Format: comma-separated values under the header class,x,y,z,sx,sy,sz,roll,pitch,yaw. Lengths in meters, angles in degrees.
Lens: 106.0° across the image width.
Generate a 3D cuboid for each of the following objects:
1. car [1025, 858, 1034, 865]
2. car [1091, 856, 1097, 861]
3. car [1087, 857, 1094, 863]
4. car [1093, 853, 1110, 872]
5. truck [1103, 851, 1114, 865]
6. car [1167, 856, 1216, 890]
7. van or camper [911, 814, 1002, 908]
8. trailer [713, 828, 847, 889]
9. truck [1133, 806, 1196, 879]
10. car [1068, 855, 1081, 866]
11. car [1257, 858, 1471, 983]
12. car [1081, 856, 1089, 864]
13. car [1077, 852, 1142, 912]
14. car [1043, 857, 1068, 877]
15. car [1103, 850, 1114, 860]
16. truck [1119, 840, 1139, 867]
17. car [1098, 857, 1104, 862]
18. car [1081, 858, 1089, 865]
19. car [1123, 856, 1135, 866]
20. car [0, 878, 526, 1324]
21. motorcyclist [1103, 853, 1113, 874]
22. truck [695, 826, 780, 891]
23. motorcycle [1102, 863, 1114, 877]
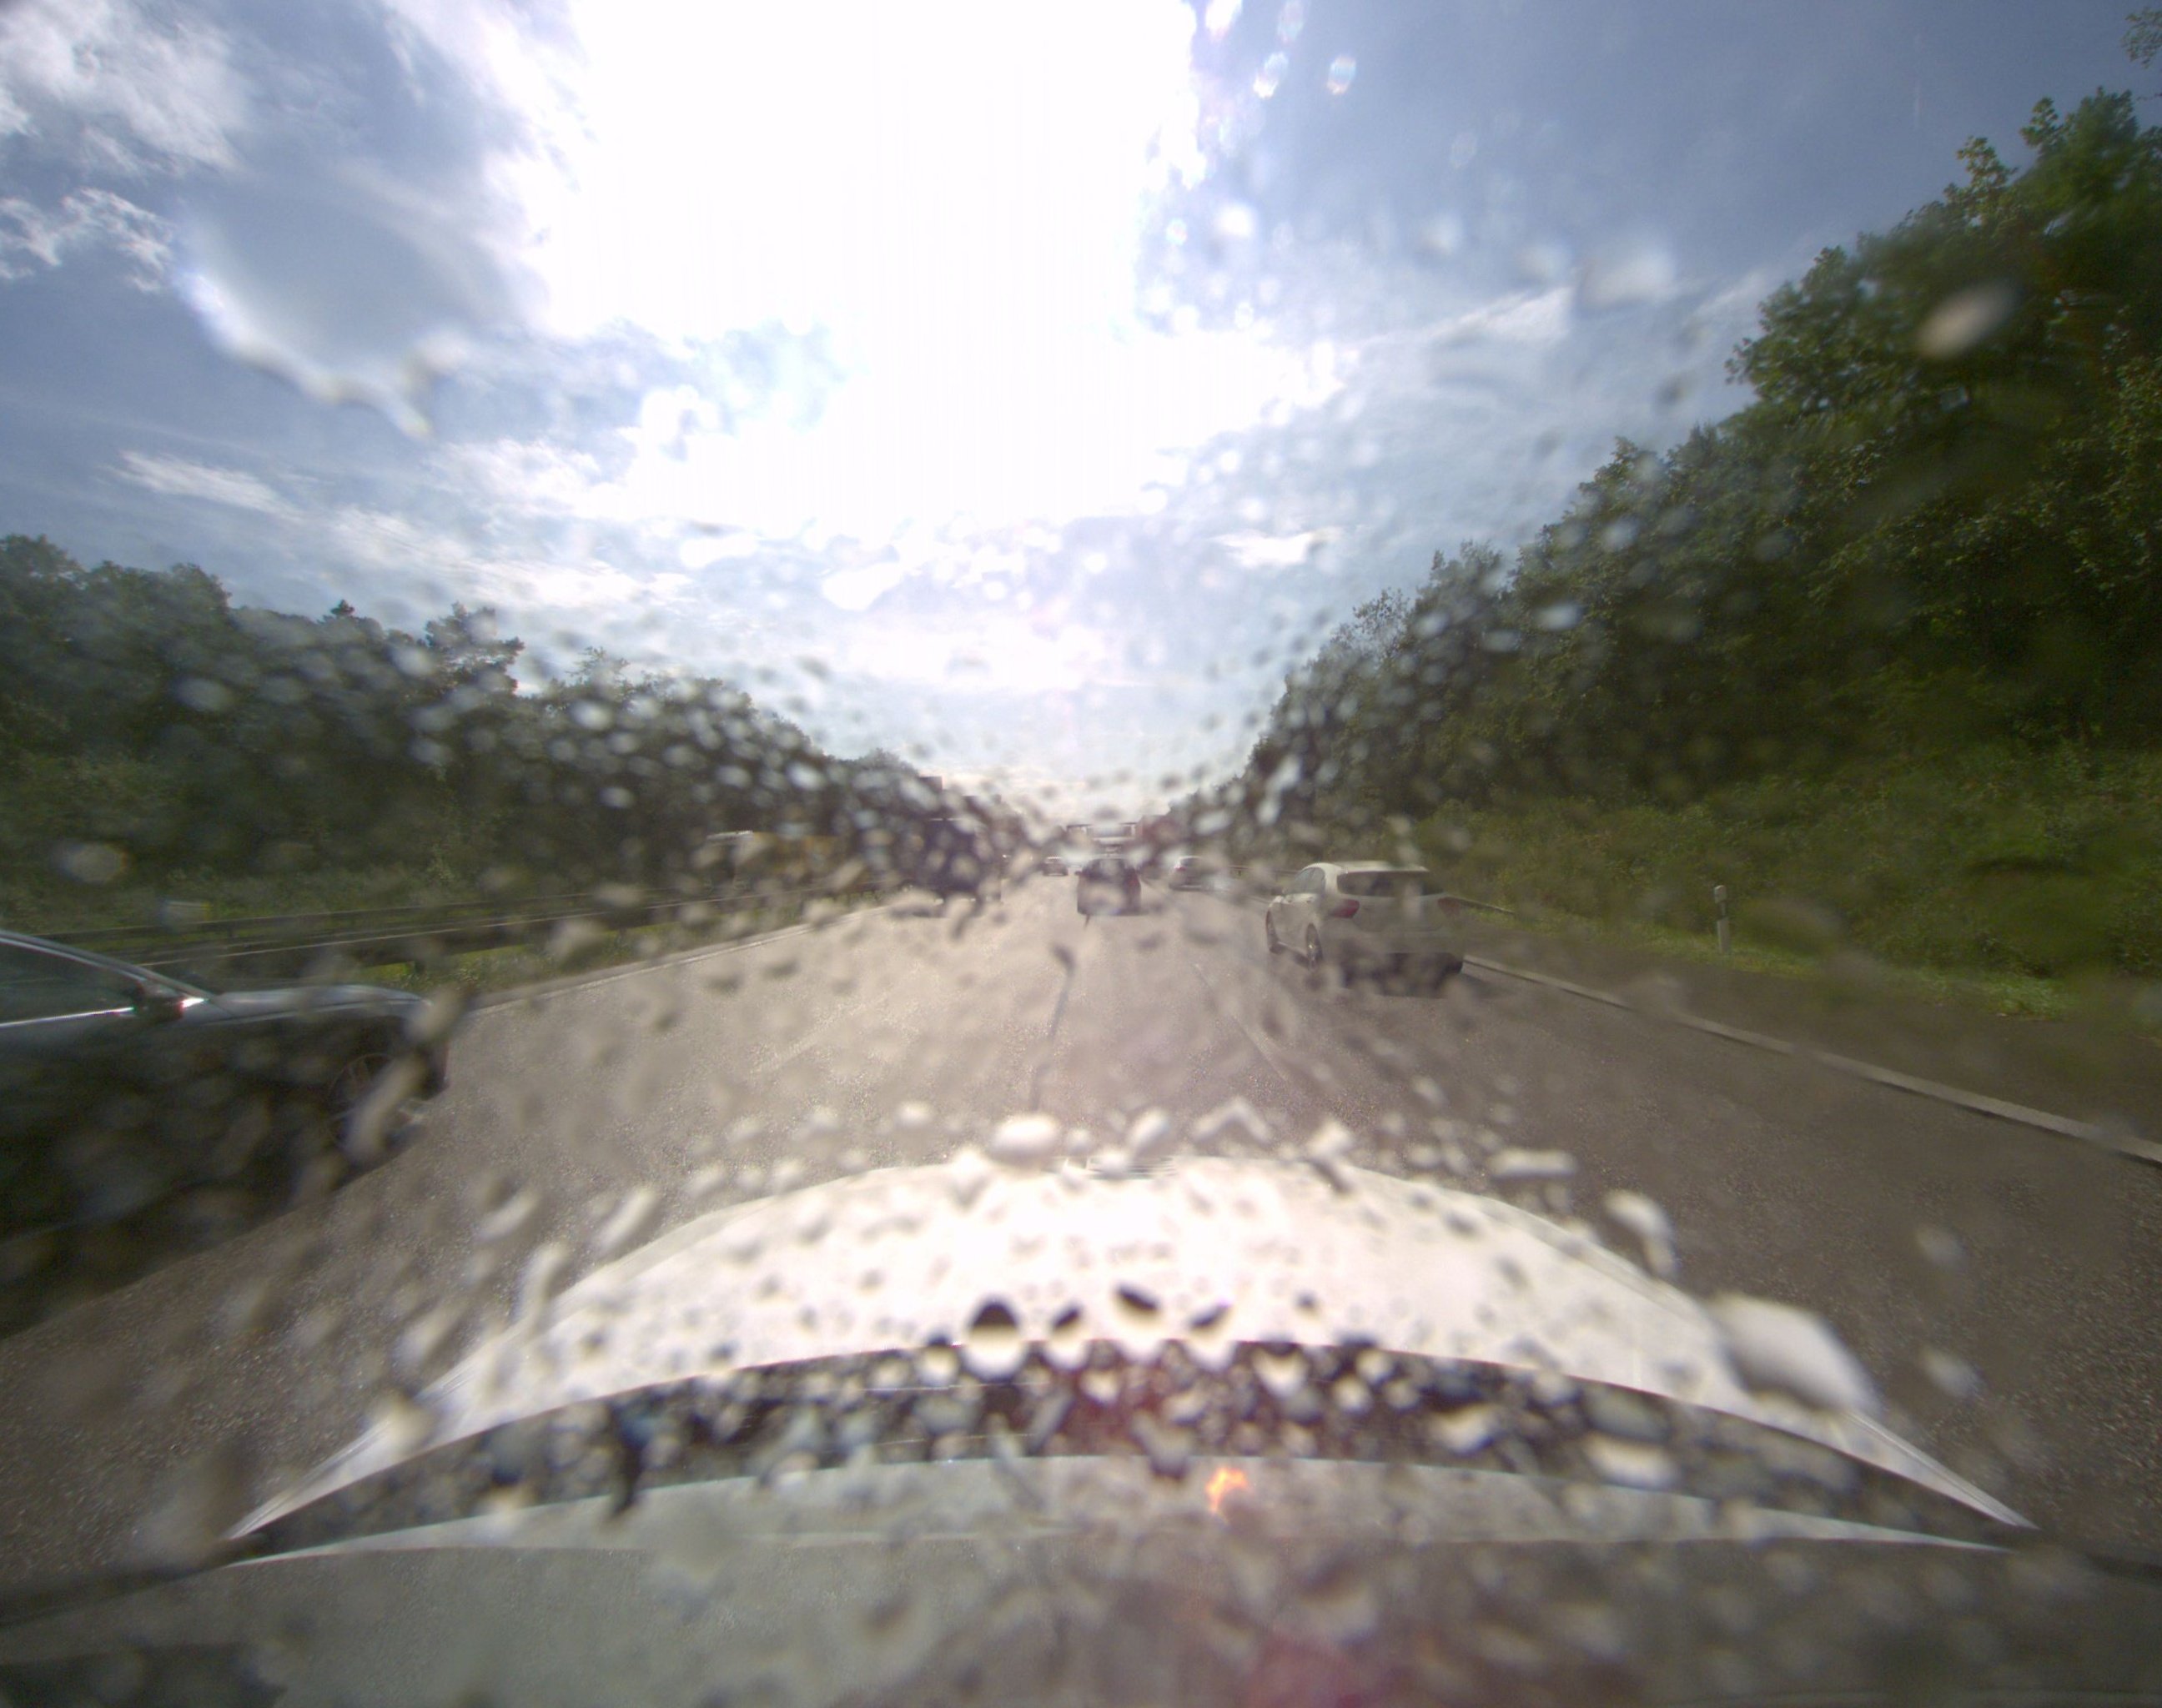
class,x,y,z,sx,sy,sz,roll,pitch,yaw
car,-11.192,1.658,176.934,1.564,1.386,3.793,0,0,2
car,3.350,1.251,207.654,1.544,1.267,3.484,0,0,0
car,2.251,1.391,193.991,1.544,1.267,3.484,0,0,0
car,1.894,0.817,76.687,1.526,1.746,3.484,0,0,0
truck,5.480,0.763,164.328,2.184,2.875,4.849,0,0,0
car,4.857,0.806,36.342,1.675,1.442,3.905,0,0,0
van or camper,-3.782,0.211,25.695,1.987,2.669,5.384,0,0,0
trailer,-20.300,0.329,56.792,2.712,3.644,16.681,0,0,1
truck,5.928,-0.668,61.215,3.635,4.720,16.787,0,0,2
car,-0.879,0.908,110.906,1.745,1.457,3.389,0,0,0
car,3.692,0.773,11.427,1.685,1.425,4.222,0,0,2
car,0.692,0.991,136.926,1.455,1.393,3.311,0,0,0
car,0.782,0.757,23.353,1.712,1.568,3.484,0,0,0
car,-2.046,1.014,65.055,1.848,1.551,3.484,0,0,0
car,3.916,0.189,116.350,1.547,1.383,3.210,0,0,0
truck,8.265,-0.038,142.273,3.243,4.479,12.427,0,0,2
car,5.928,1.647,241.401,1.544,1.267,3.484,0,0,0
car,0.794,1.511,162.023,1.544,1.267,3.484,0,0,0
car,6.763,1.051,115.551,1.547,1.383,3.210,0,0,0
car,-4.479,0.854,2.753,1.787,1.419,4.840,0,0,1
motorcyclist,2.123,0.734,64.579,0.799,1.633,1.013,0,-1,0
truck,-20.535,0.285,48.983,2.713,3.664,5.333,0,0,1
motorcycle,2.111,1.255,64.619,0.888,1.000,2.896,0,0,0
